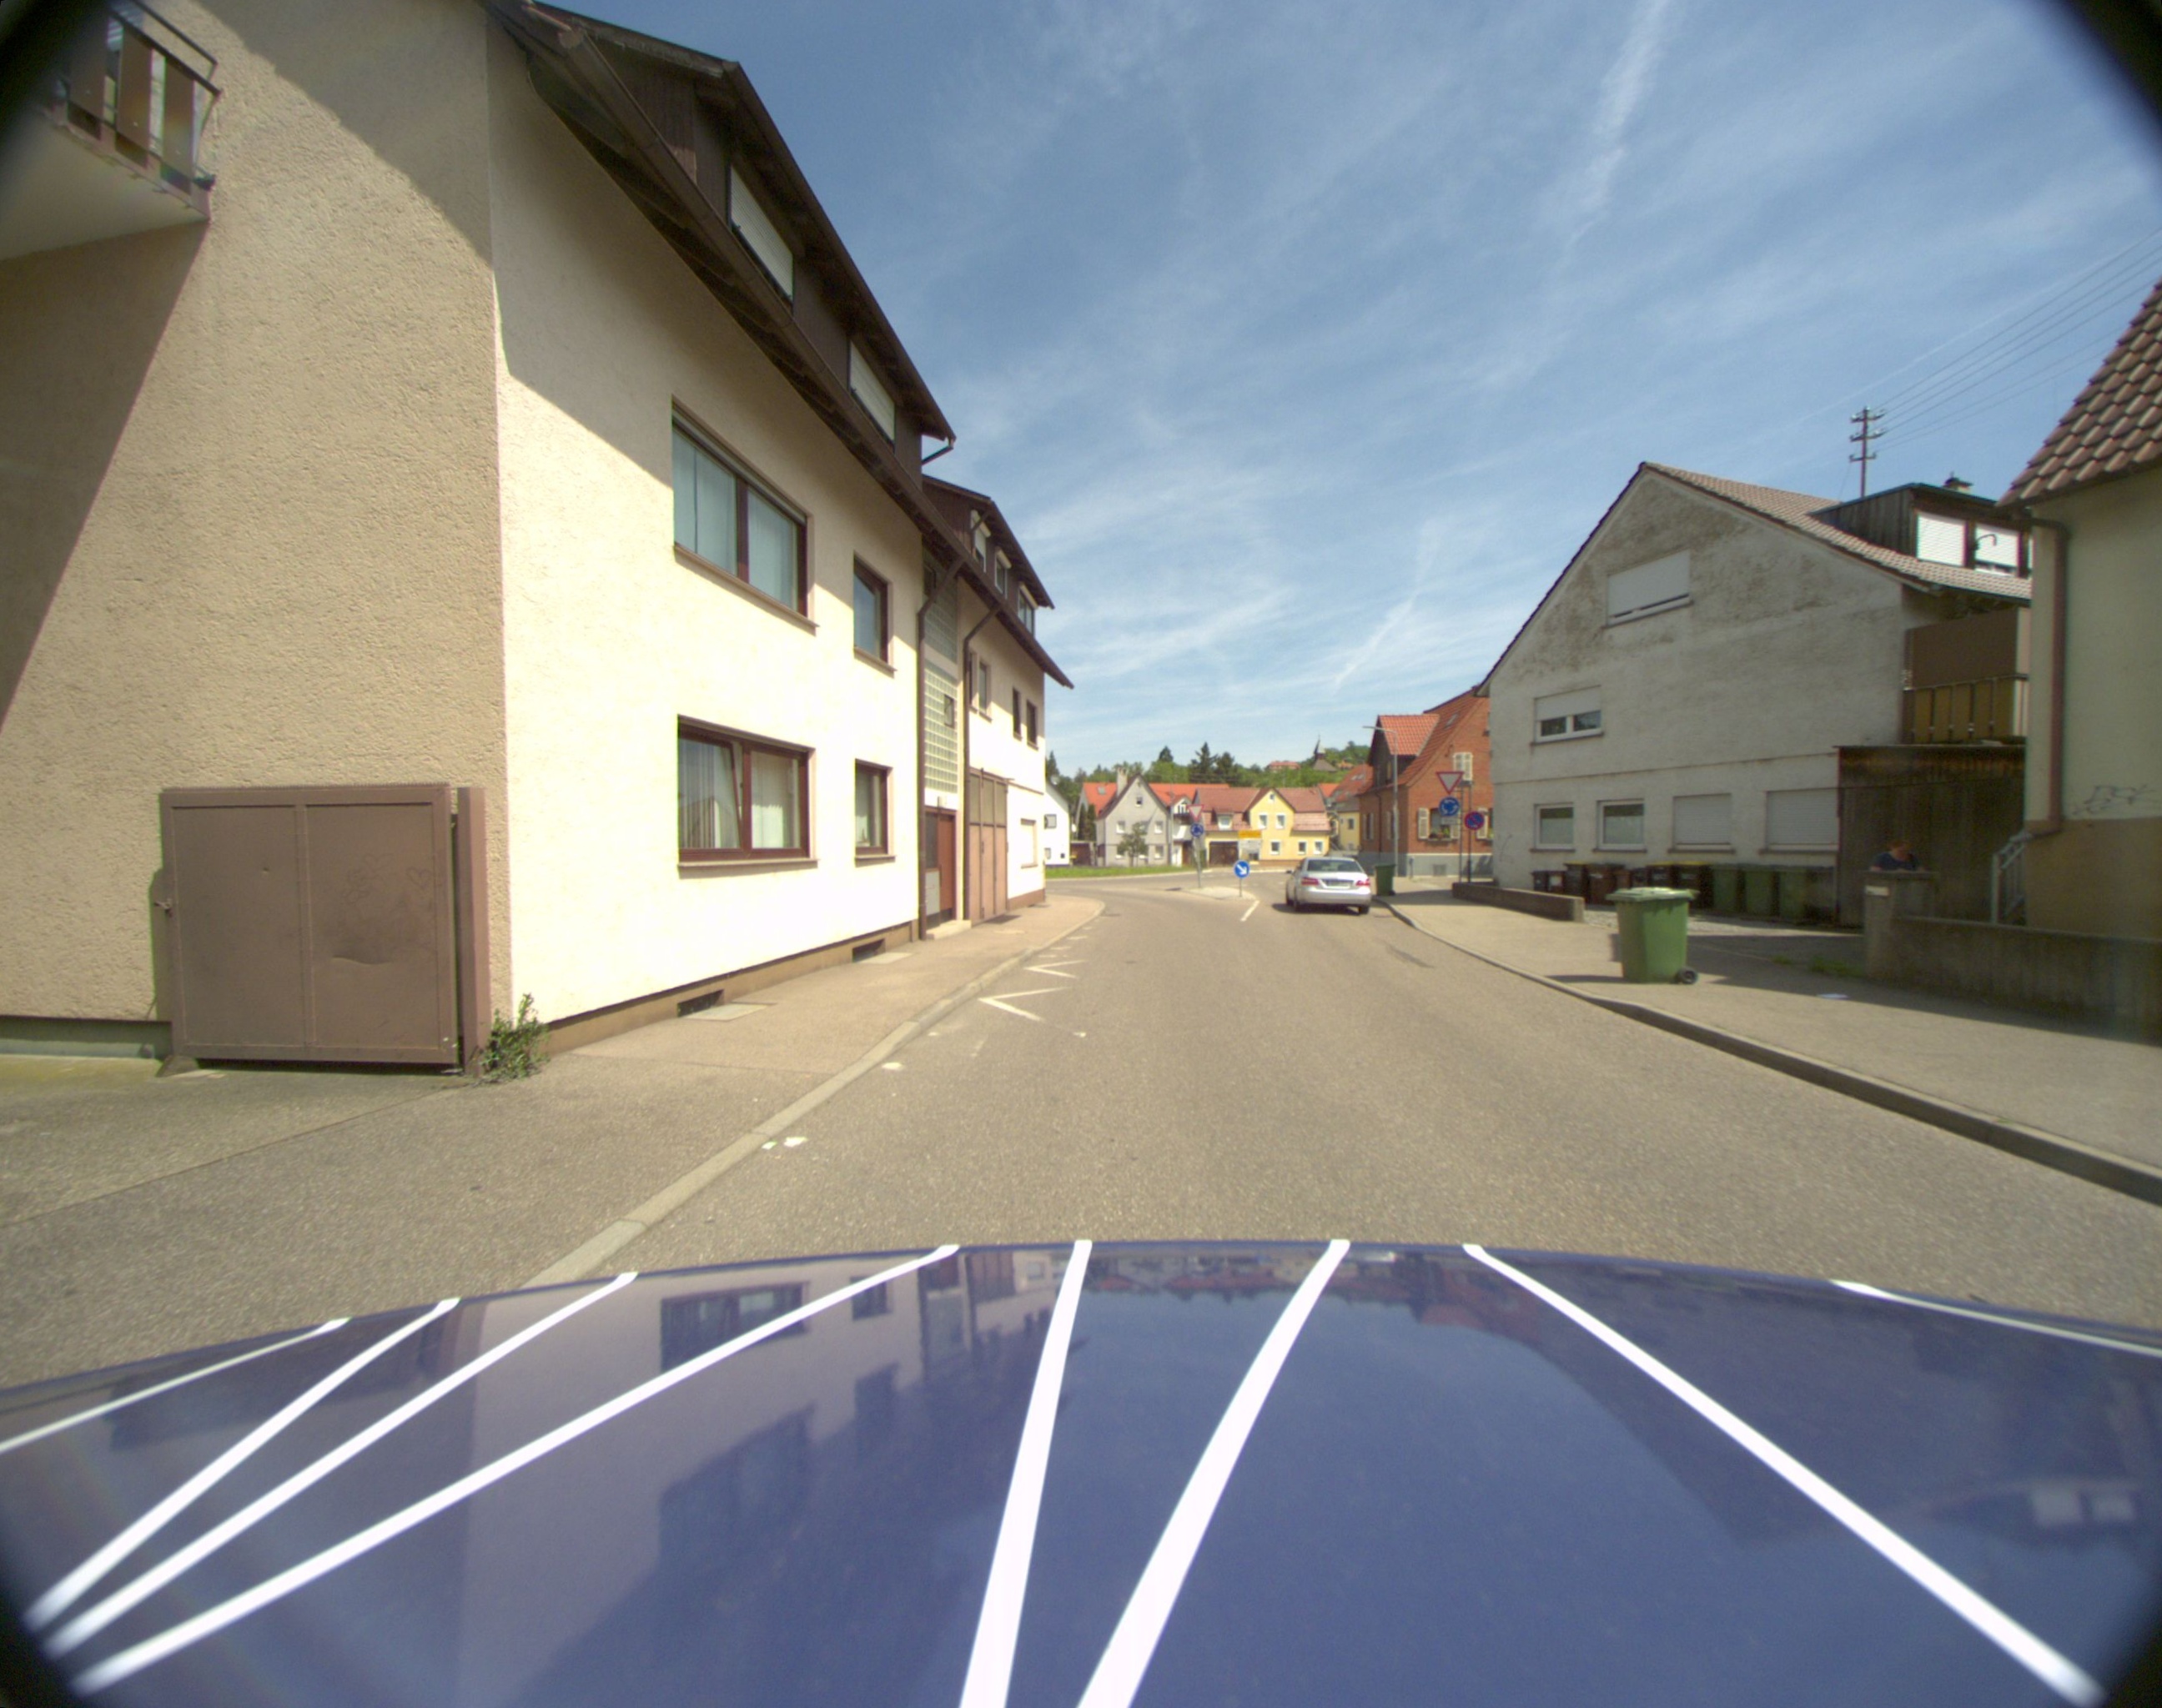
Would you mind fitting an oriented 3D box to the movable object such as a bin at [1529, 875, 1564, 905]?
[{"bbox_3d":[12.803,0.983,20.893,0.487,0.801,0.645,-2,1,-18],"label":"movable object such as a bin"}]

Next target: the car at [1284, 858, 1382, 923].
[{"bbox_3d":[6.671,0.904,20.572,1.958,1.477,4.462,-1,1,11],"label":"car"}]

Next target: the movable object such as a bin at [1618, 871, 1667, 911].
[{"bbox_3d":[13.617,0.886,18.431,0.685,0.891,0.697,-2,1,-20],"label":"movable object such as a bin"}]

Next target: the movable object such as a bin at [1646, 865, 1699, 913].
[{"bbox_3d":[13.828,0.808,17.769,0.685,1.076,0.697,-2,1,-20],"label":"movable object such as a bin"}]

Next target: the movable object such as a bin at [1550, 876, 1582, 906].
[{"bbox_3d":[12.977,0.981,20.326,0.487,0.776,0.526,-2,1,-20],"label":"movable object such as a bin"}]

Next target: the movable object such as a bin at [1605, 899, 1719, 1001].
[{"bbox_3d":[6.515,1.060,8.554,0.793,1.051,0.651,-1,1,3],"label":"movable object such as a bin"}]

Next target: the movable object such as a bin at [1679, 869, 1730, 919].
[{"bbox_3d":[14.047,0.884,17.124,0.685,1.076,0.624,-2,1,-20],"label":"movable object such as a bin"}]

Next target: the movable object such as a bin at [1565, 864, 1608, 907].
[{"bbox_3d":[13.135,0.805,19.756,0.685,1.080,0.644,-2,1,-20],"label":"movable object such as a bin"}]

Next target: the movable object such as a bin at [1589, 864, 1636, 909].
[{"bbox_3d":[13.366,0.799,19.113,0.685,1.080,0.697,-2,1,-20],"label":"movable object such as a bin"}]

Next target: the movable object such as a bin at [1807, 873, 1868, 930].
[{"bbox_3d":[14.534,0.907,14.604,0.631,1.028,0.612,-2,1,-20],"label":"movable object such as a bin"}]

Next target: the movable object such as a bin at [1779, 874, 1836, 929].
[{"bbox_3d":[14.621,0.940,15.291,0.630,1.029,0.602,-2,1,-20],"label":"movable object such as a bin"}]

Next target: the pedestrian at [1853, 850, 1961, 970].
[{"bbox_3d":[11.253,0.741,10.365,0.779,1.565,0.627,-2,1,-2],"label":"pedestrian"}]

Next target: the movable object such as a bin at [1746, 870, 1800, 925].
[{"bbox_3d":[14.457,0.894,15.876,0.681,1.076,0.583,-2,1,-20],"label":"movable object such as a bin"}]

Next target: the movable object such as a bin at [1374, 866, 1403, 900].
[{"bbox_3d":[10.053,0.942,24.861,0.809,1.039,0.828,-1,1,17],"label":"movable object such as a bin"}]

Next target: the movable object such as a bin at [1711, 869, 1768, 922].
[{"bbox_3d":[14.283,0.879,16.486,0.742,1.076,0.659,-2,1,-20],"label":"movable object such as a bin"}]
